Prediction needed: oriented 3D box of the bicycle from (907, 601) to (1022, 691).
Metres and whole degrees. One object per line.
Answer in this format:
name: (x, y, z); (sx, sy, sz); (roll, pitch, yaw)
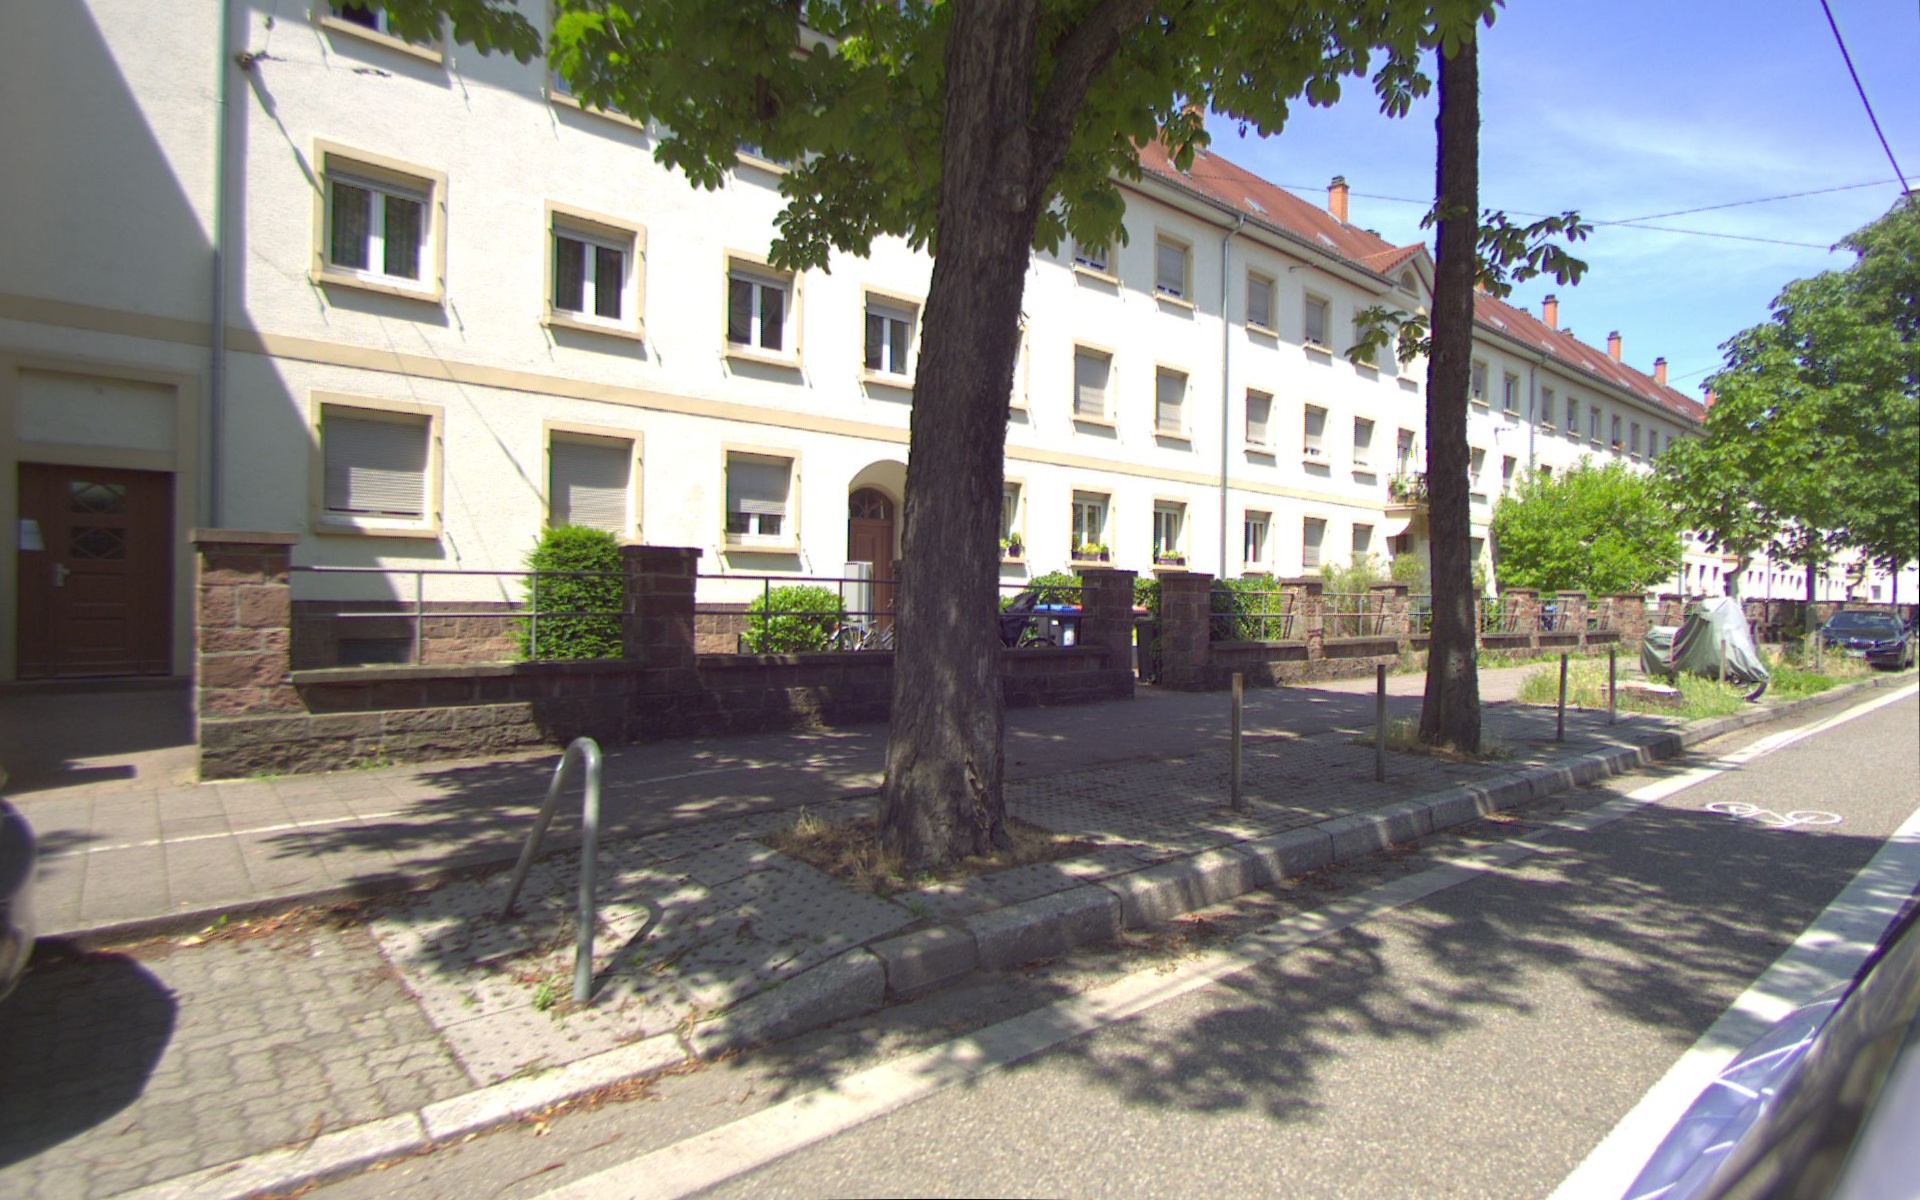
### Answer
bicycle: (0.076, 0.565, 12.906); (1.537, 1.069, 0.460); (1, 0, -41)

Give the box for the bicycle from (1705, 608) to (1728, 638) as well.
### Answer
bicycle: (28.970, 0.870, 38.746); (0.478, 1.092, 1.894); (0, 0, 43)

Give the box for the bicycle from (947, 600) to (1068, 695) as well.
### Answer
bicycle: (0.590, 0.544, 12.154); (1.537, 1.069, 0.460); (1, 0, -41)

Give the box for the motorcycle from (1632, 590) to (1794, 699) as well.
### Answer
motorcycle: (11.614, 0.642, 15.735); (0.853, 1.560, 2.319); (1, 0, 2)

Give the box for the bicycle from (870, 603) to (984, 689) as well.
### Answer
bicycle: (-0.421, 0.582, 13.424); (1.537, 1.069, 0.460); (1, 0, -41)

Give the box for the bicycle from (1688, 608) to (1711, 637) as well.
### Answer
bicycle: (28.594, 0.858, 39.121); (0.478, 1.092, 1.894); (0, 0, 43)

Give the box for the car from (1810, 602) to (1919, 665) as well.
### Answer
car: (23.123, 0.808, 25.747); (4.780, 1.445, 1.771); (1, 0, -43)

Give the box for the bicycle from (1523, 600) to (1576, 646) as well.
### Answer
bicycle: (14.583, 0.560, 25.016); (1.773, 1.116, 0.500); (1, 0, -38)

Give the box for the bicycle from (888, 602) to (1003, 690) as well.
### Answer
bicycle: (-0.166, 0.573, 13.137); (1.537, 1.069, 0.460); (1, 0, -41)

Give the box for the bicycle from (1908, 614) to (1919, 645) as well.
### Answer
bicycle: (34.044, 1.050, 35.136); (1.652, 1.092, 0.597); (1, 0, 43)

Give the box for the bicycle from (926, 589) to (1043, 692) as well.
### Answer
bicycle: (0.323, 0.488, 12.619); (1.537, 1.206, 0.460); (1, 0, -41)

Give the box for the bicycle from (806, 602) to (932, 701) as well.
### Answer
bicycle: (-1.036, 0.571, 11.785); (0.459, 1.069, 1.540); (1, 0, 42)

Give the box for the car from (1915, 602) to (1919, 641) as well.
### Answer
car: (37.364, 0.839, 38.175); (4.283, 1.437, 1.696); (1, 0, -43)

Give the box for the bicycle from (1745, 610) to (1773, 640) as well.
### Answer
bicycle: (29.699, 0.927, 37.613); (1.891, 1.092, 0.479); (1, 0, -41)

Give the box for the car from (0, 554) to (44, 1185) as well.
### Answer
car: (-4.433, 0.599, 1.700); (4.231, 1.520, 1.777); (1, 1, -42)
